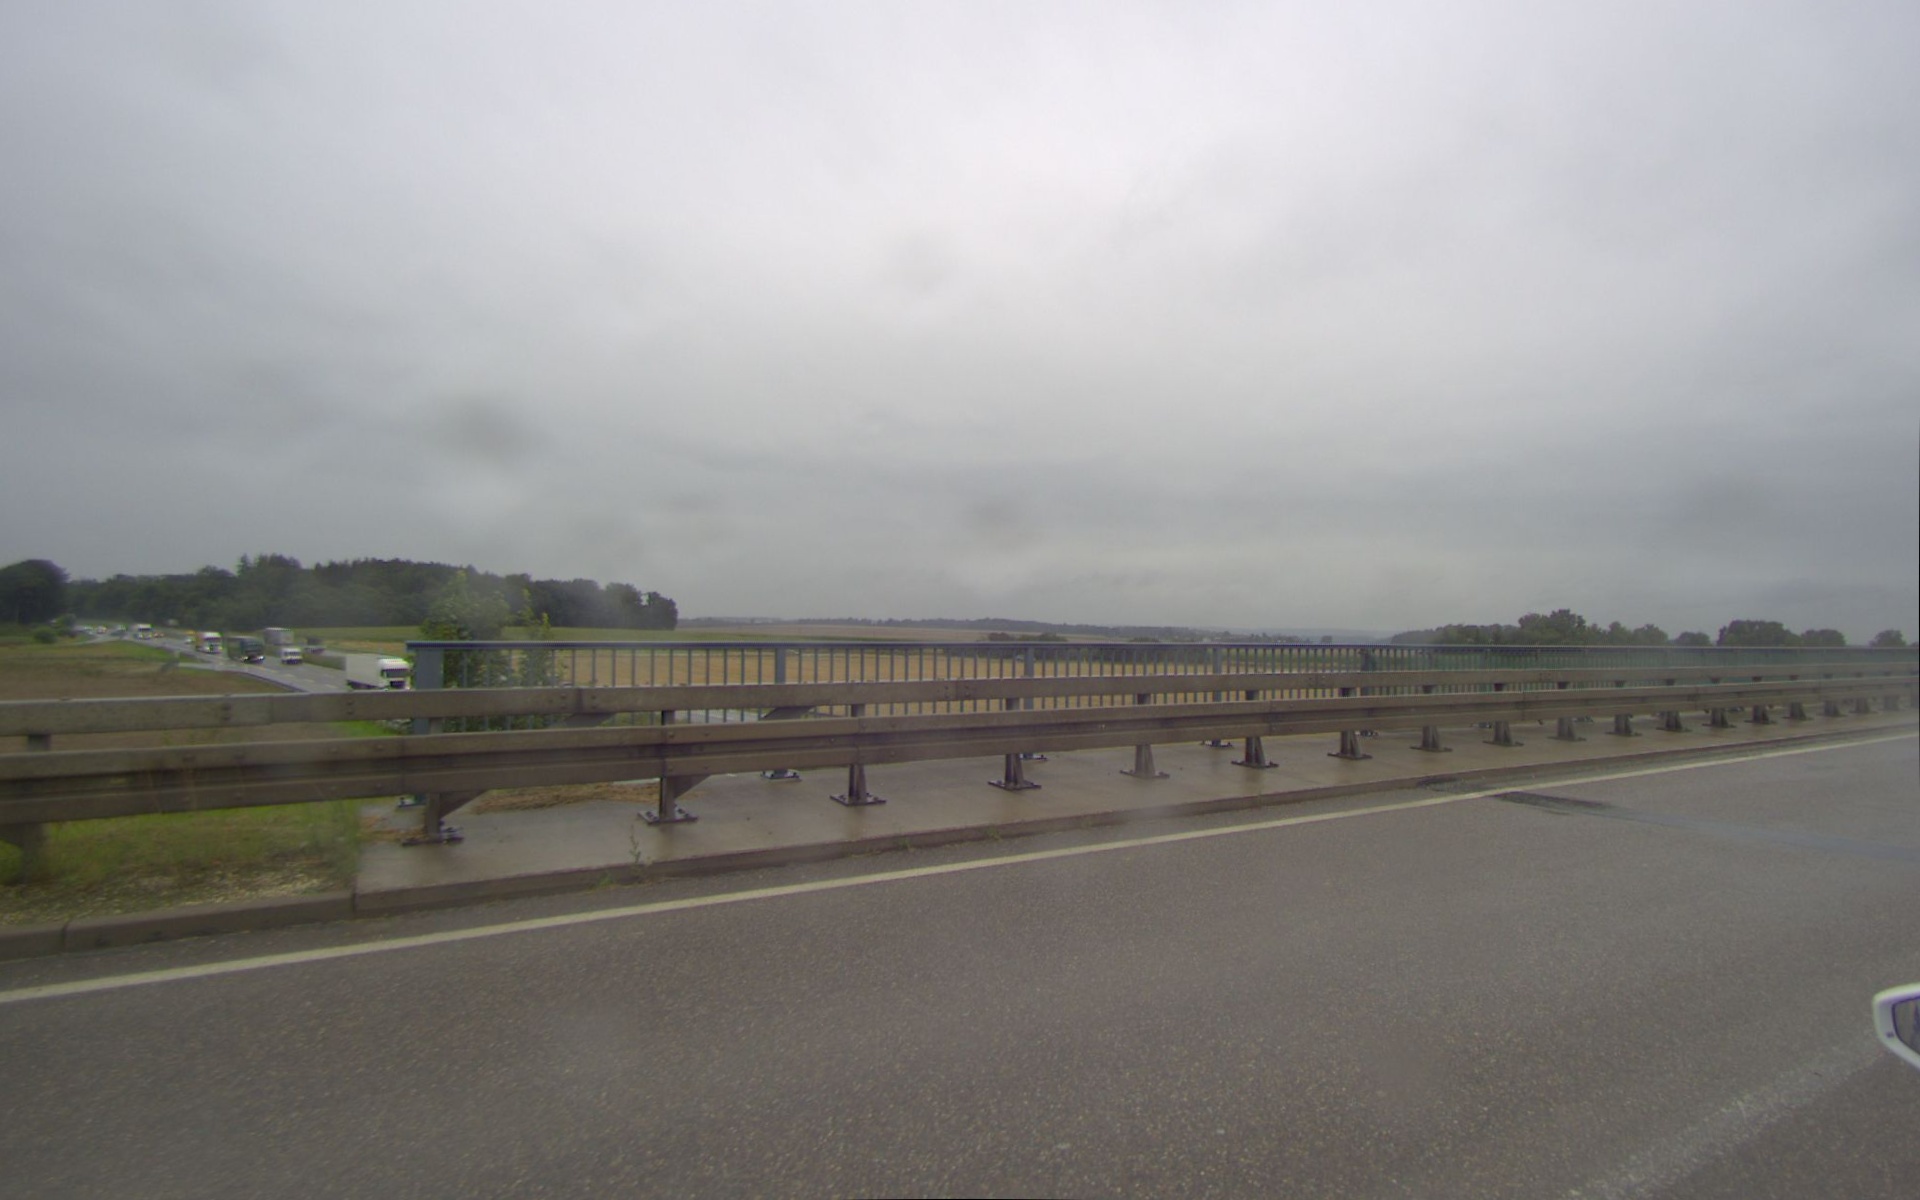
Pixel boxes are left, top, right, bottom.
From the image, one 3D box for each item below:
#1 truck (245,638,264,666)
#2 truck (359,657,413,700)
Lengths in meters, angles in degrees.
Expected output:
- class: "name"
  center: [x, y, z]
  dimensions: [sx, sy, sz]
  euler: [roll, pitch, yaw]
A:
- class: "truck"
  center: [-117.987, 8.617, 167.944]
  dimensions: [2.220, 3.749, 9.745]
  euler: [0, 2, -37]
- class: "truck"
  center: [-61.623, 8.330, 107.694]
  dimensions: [2.766, 3.920, 10.512]
  euler: [3, -2, -42]
